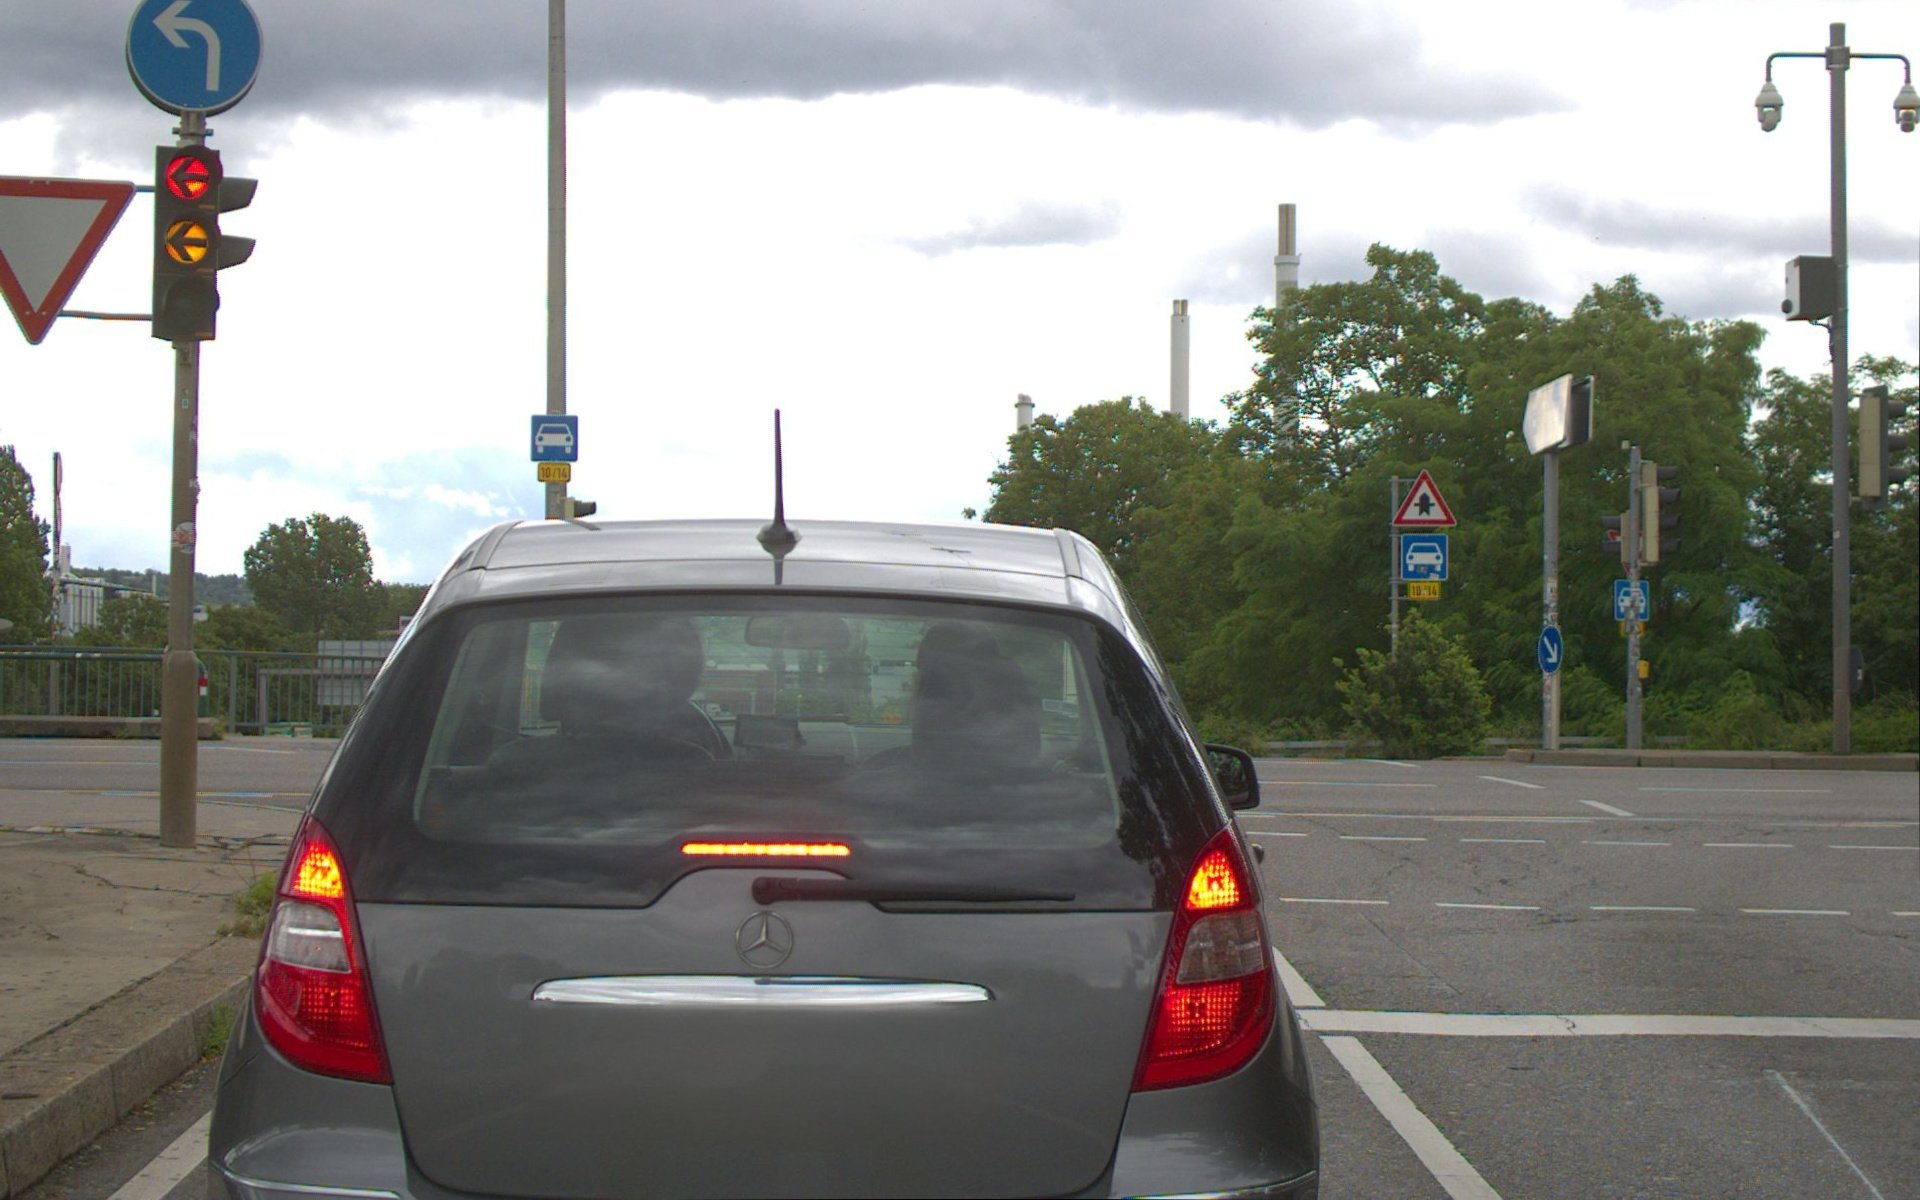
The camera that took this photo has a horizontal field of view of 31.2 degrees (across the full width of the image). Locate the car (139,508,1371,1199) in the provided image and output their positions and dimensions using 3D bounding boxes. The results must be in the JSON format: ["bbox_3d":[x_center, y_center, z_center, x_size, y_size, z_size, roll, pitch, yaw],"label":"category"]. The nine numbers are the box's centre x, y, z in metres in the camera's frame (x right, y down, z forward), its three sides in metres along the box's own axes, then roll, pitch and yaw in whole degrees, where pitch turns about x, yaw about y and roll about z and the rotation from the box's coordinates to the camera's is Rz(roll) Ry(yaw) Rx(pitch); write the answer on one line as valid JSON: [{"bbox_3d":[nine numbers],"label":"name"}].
[{"bbox_3d":[-0.310,0.633,6.663,1.739,1.538,3.541,1,1,0],"label":"car"}]
